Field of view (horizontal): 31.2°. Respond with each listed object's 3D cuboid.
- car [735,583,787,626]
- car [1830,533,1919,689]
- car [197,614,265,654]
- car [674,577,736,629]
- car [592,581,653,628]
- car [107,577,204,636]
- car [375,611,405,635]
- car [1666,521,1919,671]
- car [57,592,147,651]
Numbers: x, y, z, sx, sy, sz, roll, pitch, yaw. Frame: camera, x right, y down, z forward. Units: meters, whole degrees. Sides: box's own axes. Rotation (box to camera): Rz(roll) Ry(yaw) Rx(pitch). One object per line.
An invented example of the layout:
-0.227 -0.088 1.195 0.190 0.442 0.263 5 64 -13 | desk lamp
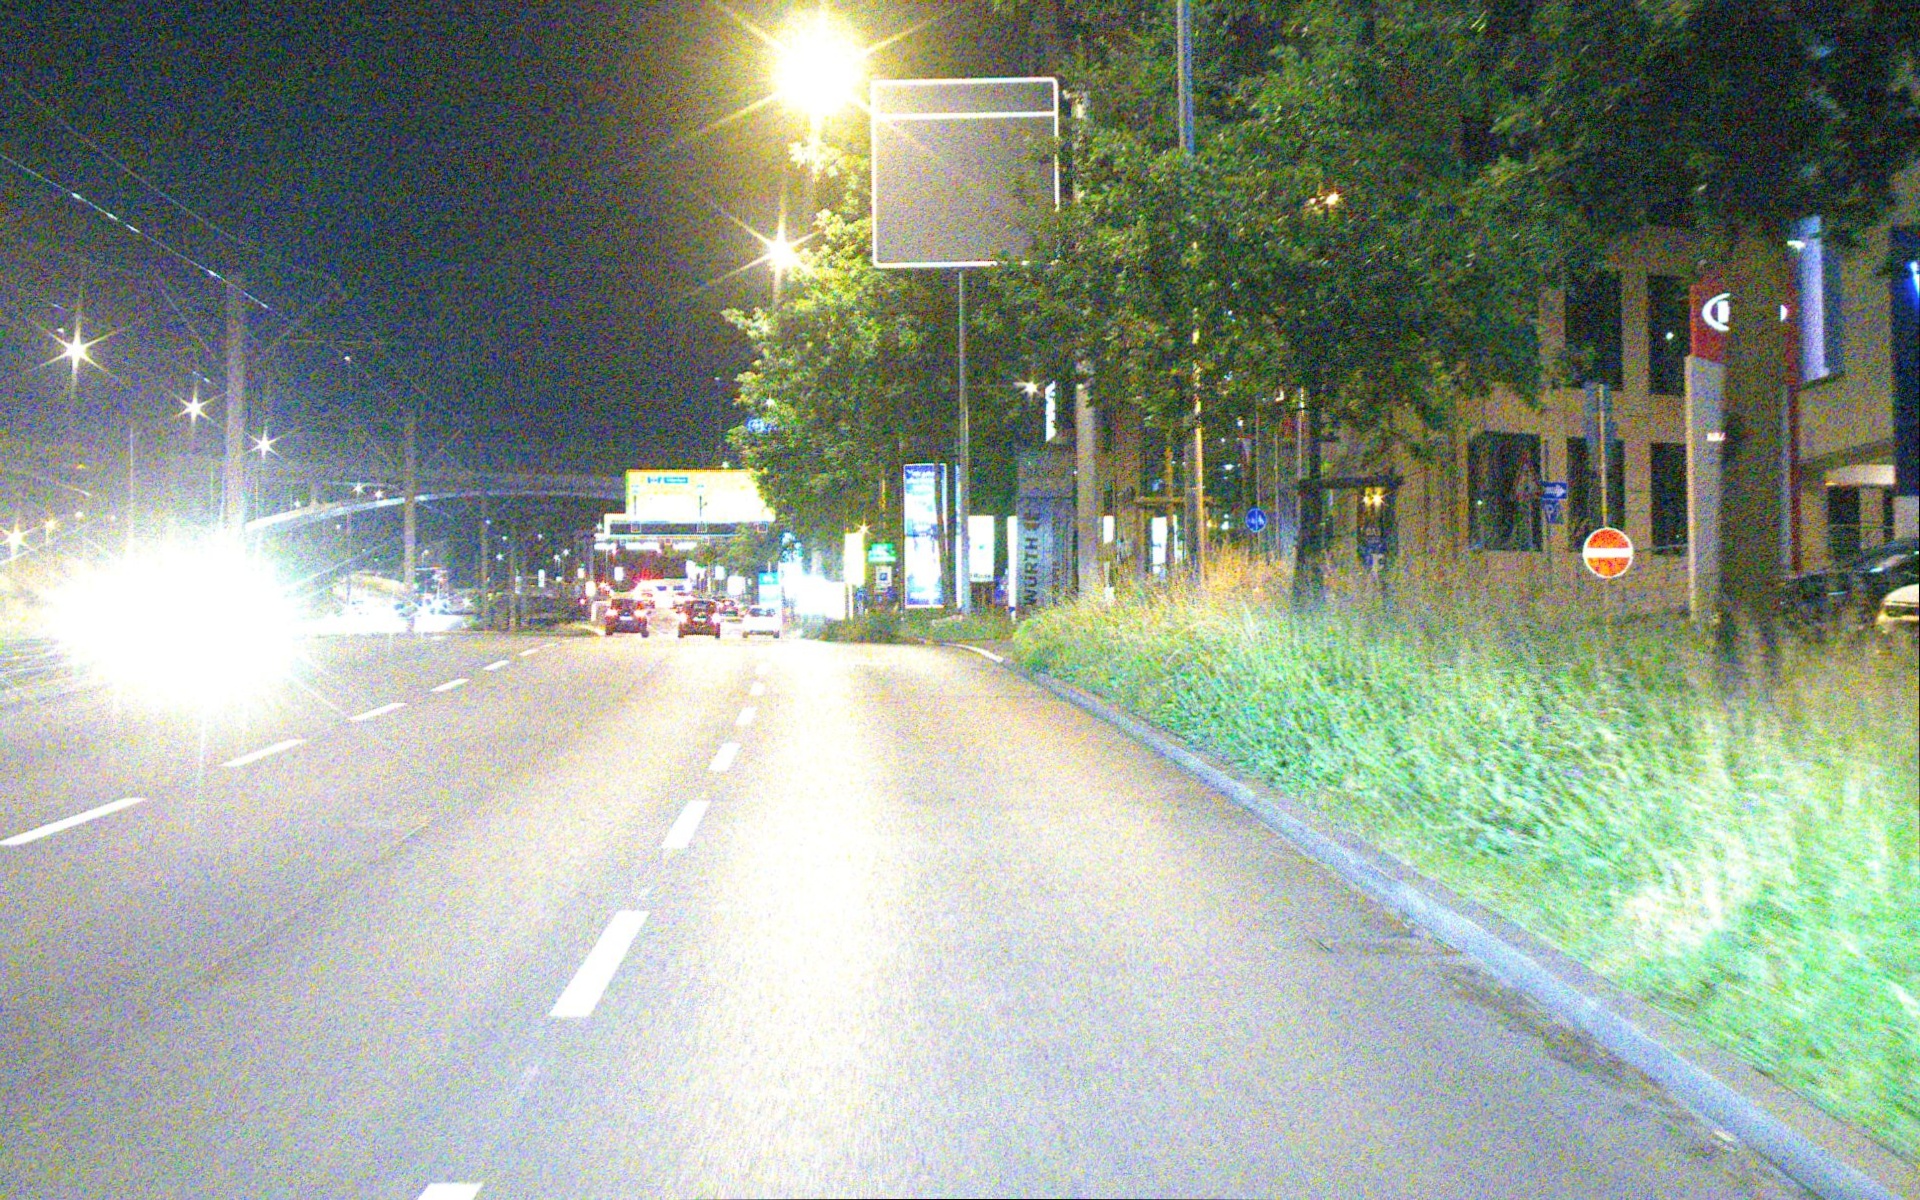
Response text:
-9.827 0.212 170.069 2.427 2.106 4.826 0 0 -1 | car
9.876 0.068 29.210 4.628 1.260 1.948 -1 2 -25 | car
-27.796 1.276 131.215 1.866 1.424 4.957 1 0 -4 | car
-10.832 0.112 146.239 2.356 2.122 4.826 0 0 -1 | car
-14.714 0.170 150.160 2.262 2.007 4.826 0 0 -1 | car
-20.909 0.151 89.494 1.620 1.435 4.338 -2 0 -2 | car
-42.255 1.686 254.928 1.863 1.744 3.702 0 0 -5 | car
9.323 -0.021 34.119 4.120 1.415 1.877 1 0 -14 | car
-25.149 0.612 100.916 1.993 1.589 4.001 -2 1 -6 | car
